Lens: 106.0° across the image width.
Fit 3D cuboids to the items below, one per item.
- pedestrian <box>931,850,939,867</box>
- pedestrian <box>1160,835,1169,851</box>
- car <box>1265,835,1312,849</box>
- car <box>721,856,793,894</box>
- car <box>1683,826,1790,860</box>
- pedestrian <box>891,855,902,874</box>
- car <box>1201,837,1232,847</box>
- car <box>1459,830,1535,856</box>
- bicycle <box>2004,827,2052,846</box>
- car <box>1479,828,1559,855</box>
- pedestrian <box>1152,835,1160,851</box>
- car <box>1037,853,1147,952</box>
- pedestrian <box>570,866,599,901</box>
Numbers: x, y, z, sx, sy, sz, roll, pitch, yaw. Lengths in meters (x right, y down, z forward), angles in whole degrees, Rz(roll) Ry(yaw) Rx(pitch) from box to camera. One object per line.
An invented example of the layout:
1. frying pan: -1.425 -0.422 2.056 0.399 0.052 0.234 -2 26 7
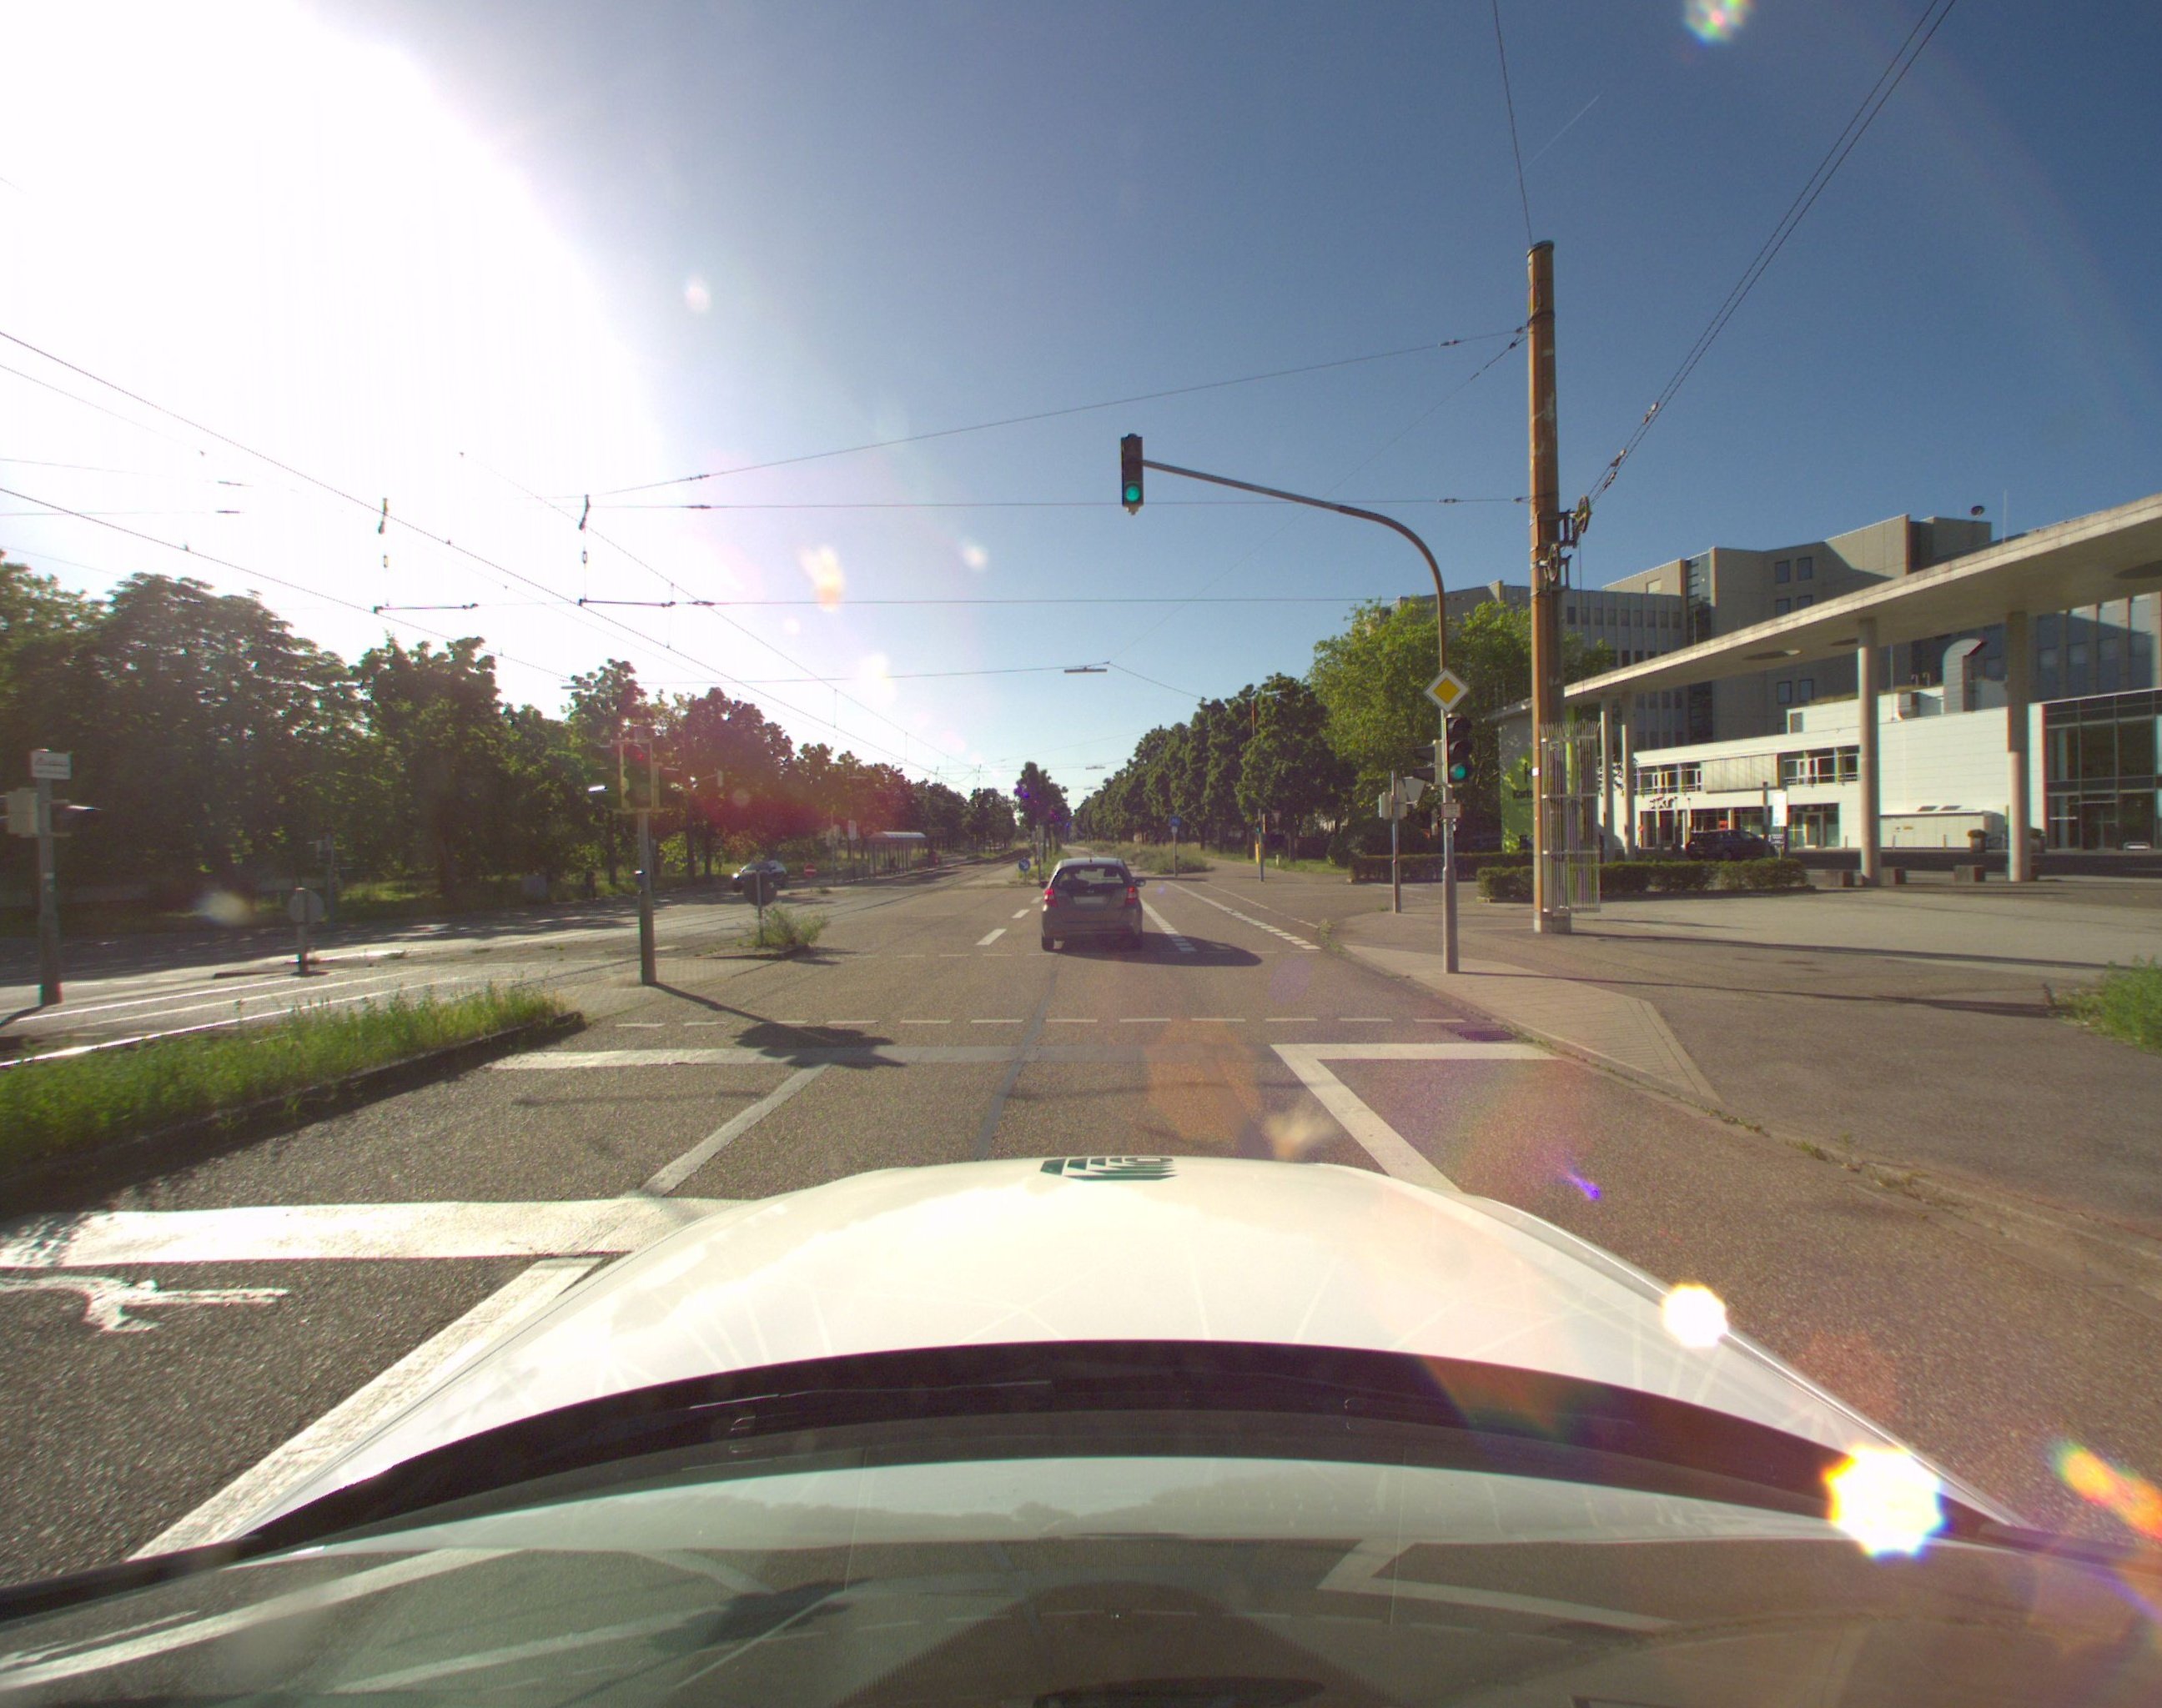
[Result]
1. pedestrian: -12.825 0.363 71.655 0.542 1.447 0.559 -3 0 1
2. pedestrian: 10.236 -1.387 99.523 0.880 1.884 0.875 -2 0 -2
3. car: 23.353 -1.359 91.595 4.625 1.327 2.105 -2 1 36
4. car: -18.273 1.125 46.184 2.087 1.810 4.792 -4 1 0
5. car: 32.874 -0.546 40.897 3.984 1.578 1.949 -2 0 -8
6. pedestrian: -12.948 0.724 57.086 0.562 1.257 0.581 -4 0 0
7. car: 22.501 -2.033 135.455 4.623 1.555 1.997 -2 1 -5
8. car: 29.535 -0.807 57.906 4.448 1.686 1.892 -2 0 -5
9. bicycle: 51.810 -0.963 44.571 0.565 1.004 1.614 -2 0 -13
10. car: 29.726 -0.842 55.337 4.448 1.686 1.892 -2 0 -5
11. pedestrian: 9.147 -1.370 99.517 0.880 1.884 0.875 -2 0 -2
12. car: 0.229 0.776 14.665 1.695 1.524 3.710 -1 0 1
13. pedestrian: -25.301 1.482 41.477 0.751 1.734 0.943 -2 1 30
